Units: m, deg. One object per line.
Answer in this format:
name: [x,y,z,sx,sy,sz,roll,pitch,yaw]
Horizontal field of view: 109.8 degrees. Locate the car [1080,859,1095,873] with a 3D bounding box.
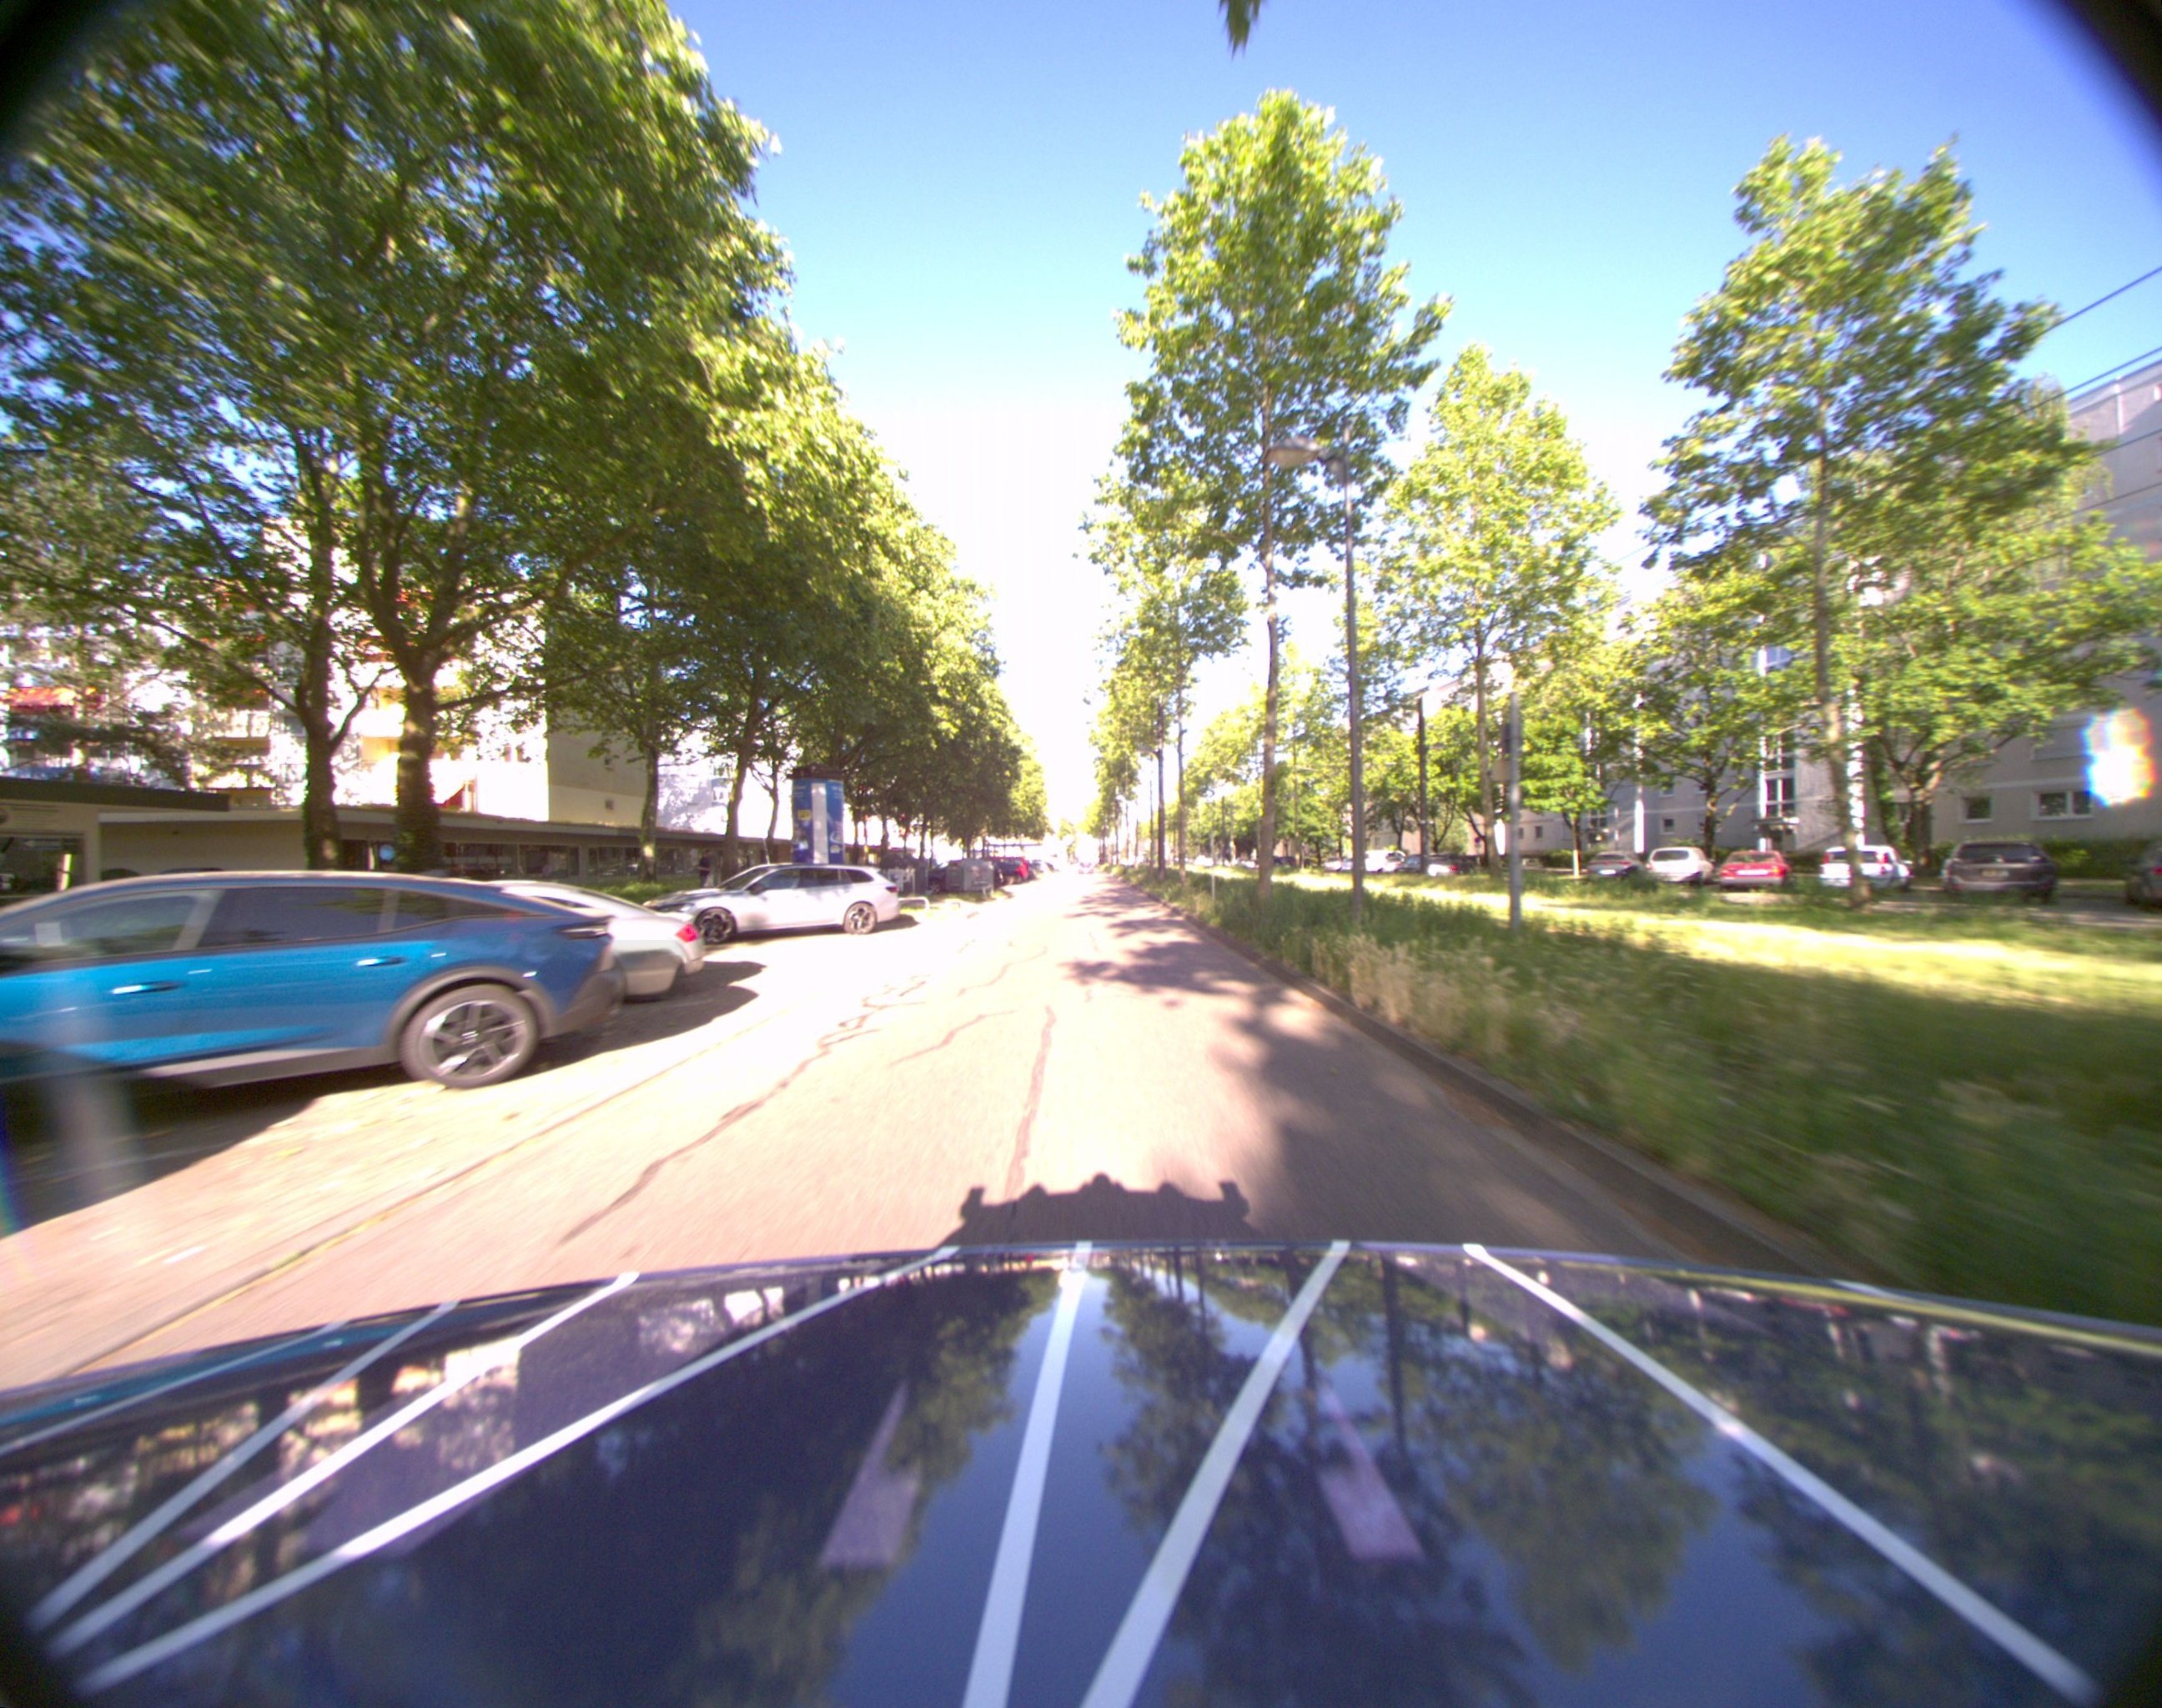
car: [0.784,1.361,85.853,1.619,1.536,4.278,-1,0,2]

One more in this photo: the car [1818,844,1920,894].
car: [25.436,0.433,24.486,4.495,1.473,1.613,-1,0,-35]

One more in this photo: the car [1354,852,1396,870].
car: [24.899,0.553,64.239,4.093,1.424,1.575,-1,2,-41]

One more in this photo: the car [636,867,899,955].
car: [-6.112,1.018,15.167,4.503,1.435,1.851,0,0,-43]

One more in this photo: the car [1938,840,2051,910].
car: [24.380,0.486,20.417,4.496,1.665,1.790,-1,0,-42]

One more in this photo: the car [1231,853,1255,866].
car: [19.619,0.671,92.093,1.928,1.497,4.085,2,0,0]

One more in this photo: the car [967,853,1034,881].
car: [-5.236,0.824,49.805,4.093,1.800,1.646,0,0,-39]

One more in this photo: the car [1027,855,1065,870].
car: [-4.433,1.048,96.486,4.680,1.842,1.825,0,0,-39]

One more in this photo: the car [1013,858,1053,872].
car: [-4.839,1.098,77.281,3.947,1.365,1.583,0,0,-42]

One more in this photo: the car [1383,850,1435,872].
car: [24.907,0.538,57.702,4.091,1.424,1.576,-3,0,-33]

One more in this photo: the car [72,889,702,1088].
car: [-6.435,1.095,7.714,4.339,1.290,1.687,0,0,-43]

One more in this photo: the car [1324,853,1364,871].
car: [24.493,0.737,70.695,4.093,1.636,1.647,-1,-2,-41]

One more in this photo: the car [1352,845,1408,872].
car: [23.913,0.336,60.634,4.807,1.994,1.888,-1,-1,-37]

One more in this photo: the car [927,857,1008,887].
car: [-6.202,0.945,41.834,4.094,1.573,1.776,0,0,-41]

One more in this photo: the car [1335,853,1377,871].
car: [24.272,0.716,67.075,4.093,1.474,1.647,-1,0,-41]

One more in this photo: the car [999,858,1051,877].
car: [-4.332,1.044,59.147,3.795,1.461,1.646,0,0,-42]

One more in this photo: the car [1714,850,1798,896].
car: [23.961,0.626,26.939,3.929,1.479,1.790,-1,0,-42]

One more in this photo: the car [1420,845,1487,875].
car: [24.835,0.390,50.652,4.092,1.600,1.987,-1,11,-35]

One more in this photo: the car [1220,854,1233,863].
car: [25.300,0.856,132.227,1.718,1.536,4.201,-1,0,2]

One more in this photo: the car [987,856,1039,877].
car: [-5.700,1.012,63.816,4.036,1.695,1.756,0,0,-40]

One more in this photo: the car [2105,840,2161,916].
car: [24.465,0.473,16.792,4.496,1.559,1.790,-1,0,-42]

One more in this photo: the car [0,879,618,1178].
car: [-5.679,0.928,4.883,4.339,1.416,1.851,0,0,-43]

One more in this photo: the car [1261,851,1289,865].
car: [24.424,0.517,95.737,1.646,1.637,4.093,1,2,42]

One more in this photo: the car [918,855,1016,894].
car: [-5.346,0.933,35.920,4.329,1.707,1.631,-1,0,-38]

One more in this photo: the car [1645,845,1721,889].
car: [24.598,0.502,30.996,3.987,1.665,1.782,-1,0,-42]

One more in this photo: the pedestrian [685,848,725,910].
pedestrian: [-11.958,0.782,24.220,0.875,1.903,0.871,-1,0,-8]

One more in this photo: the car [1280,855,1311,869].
car: [25.037,0.937,88.687,1.647,1.466,4.094,-7,-4,44]

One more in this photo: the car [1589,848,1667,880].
car: [24.643,0.399,34.188,4.140,1.330,1.790,-1,1,-39]

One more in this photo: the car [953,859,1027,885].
car: [-5.391,1.065,45.363,4.093,1.472,1.647,0,0,-35]

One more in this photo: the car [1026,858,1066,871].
car: [-3.709,1.087,80.947,4.194,1.404,1.715,0,0,-42]

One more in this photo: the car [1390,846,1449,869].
car: [24.130,0.230,54.121,4.092,1.521,1.814,-1,-1,-33]

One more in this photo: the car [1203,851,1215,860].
car: [24.264,0.267,143.861,1.718,1.536,3.934,-1,0,3]

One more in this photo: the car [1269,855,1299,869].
car: [24.751,0.963,92.502,4.094,1.636,1.647,0,-3,-45]
